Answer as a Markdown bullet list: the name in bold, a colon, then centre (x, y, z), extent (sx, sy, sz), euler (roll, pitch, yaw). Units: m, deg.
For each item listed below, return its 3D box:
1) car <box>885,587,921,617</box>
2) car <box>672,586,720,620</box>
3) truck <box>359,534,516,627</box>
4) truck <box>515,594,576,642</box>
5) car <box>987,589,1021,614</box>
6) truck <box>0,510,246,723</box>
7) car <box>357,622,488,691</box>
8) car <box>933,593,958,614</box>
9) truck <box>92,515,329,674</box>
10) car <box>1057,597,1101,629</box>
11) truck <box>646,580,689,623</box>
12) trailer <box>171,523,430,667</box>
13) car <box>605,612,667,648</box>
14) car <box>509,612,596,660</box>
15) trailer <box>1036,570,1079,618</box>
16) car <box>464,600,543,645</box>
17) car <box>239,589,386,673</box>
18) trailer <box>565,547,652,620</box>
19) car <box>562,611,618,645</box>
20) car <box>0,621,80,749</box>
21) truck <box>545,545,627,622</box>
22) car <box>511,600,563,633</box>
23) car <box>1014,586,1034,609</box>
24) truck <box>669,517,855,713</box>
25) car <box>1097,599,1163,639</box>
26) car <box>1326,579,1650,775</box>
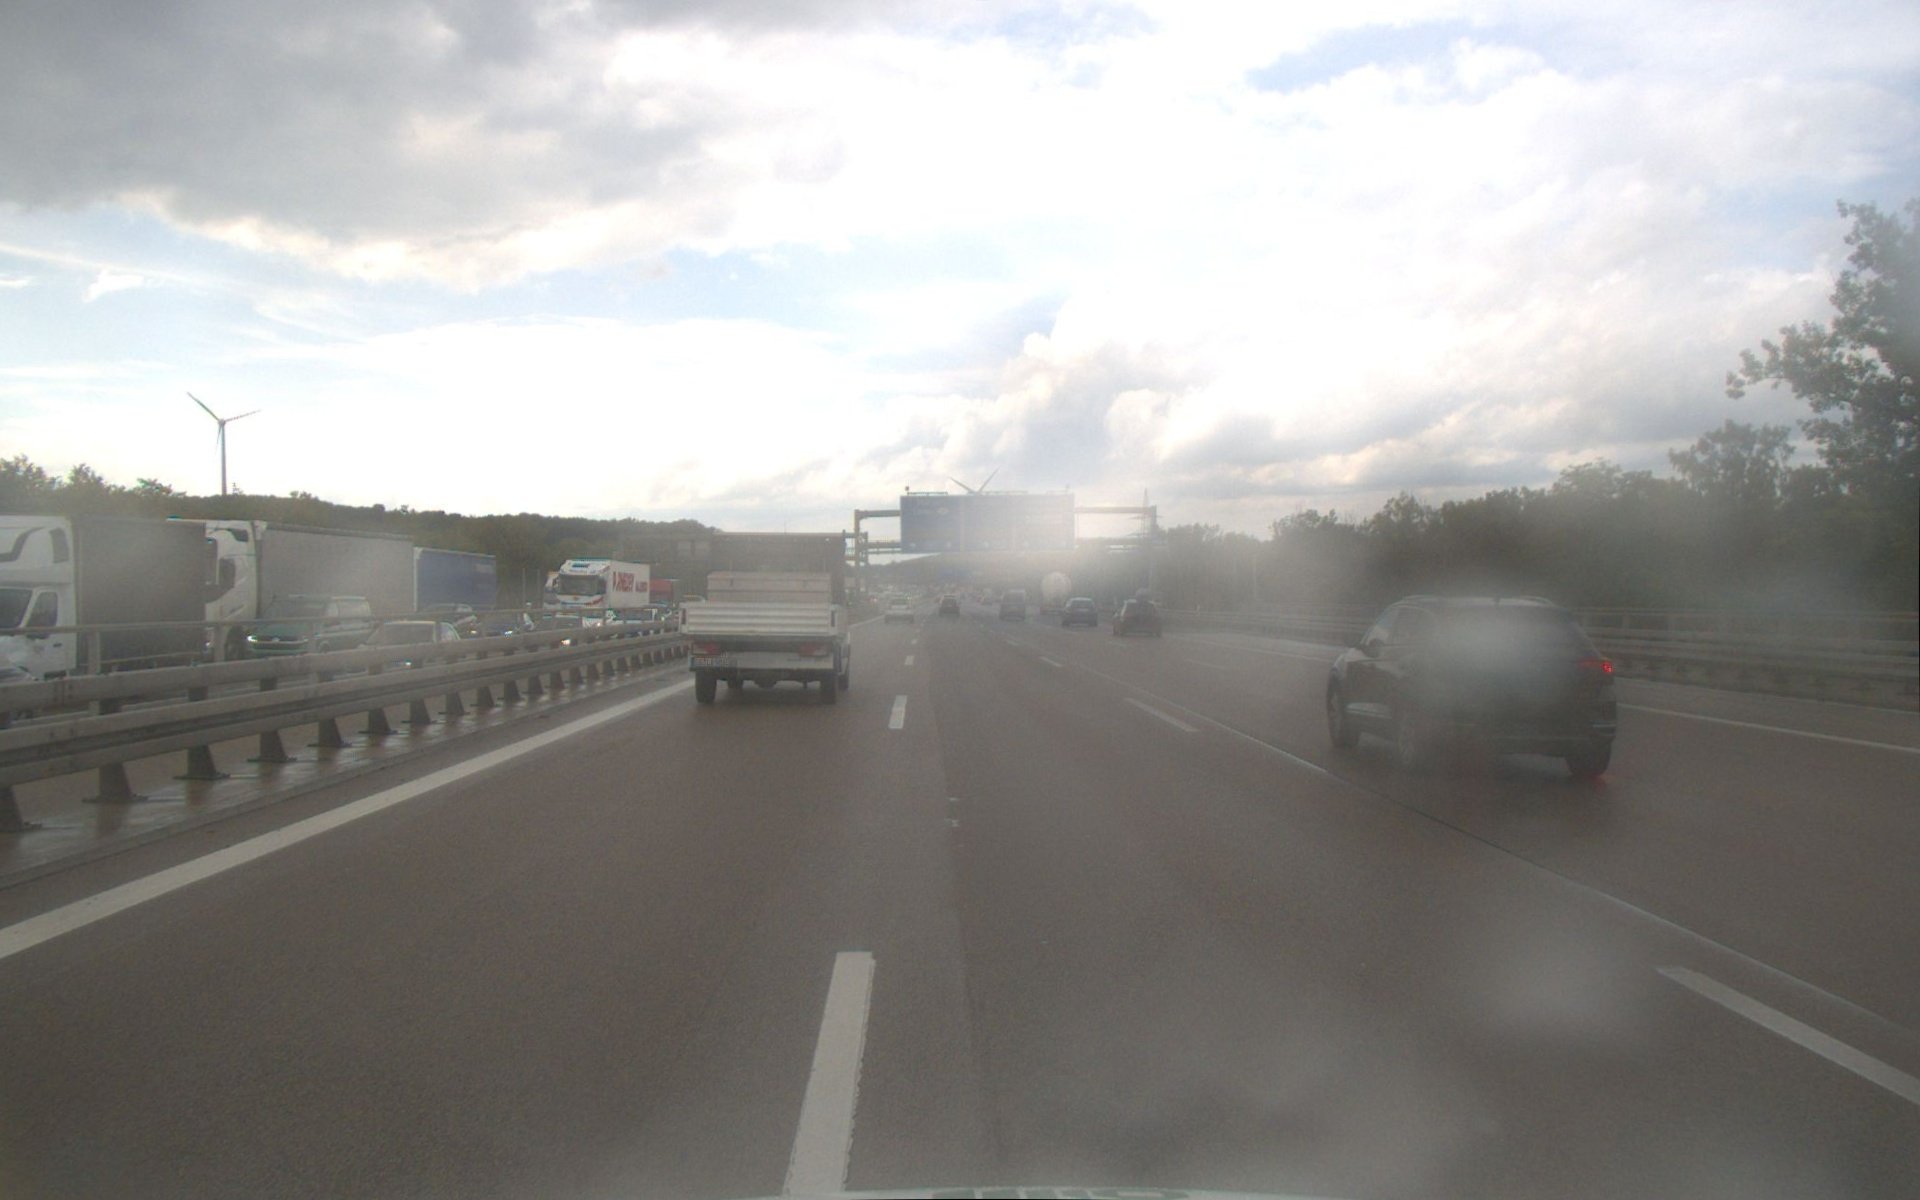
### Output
- **car**: centre (-3.381, 0.109, 98.516), extent (2.003, 1.729, 3.999), euler (1, 0, -1)
- **car**: centre (-13.446, 0.118, 84.393), extent (1.756, 1.647, 4.283), euler (-1, 0, 0)
- **truck**: centre (-25.431, -0.928, 81.805), extent (2.594, 4.091, 17.742), euler (0, 0, -2)
- **truck**: centre (-27.320, 1.138, 109.201), extent (2.466, 3.038, 7.019), euler (0, 0, -2)
- **car**: centre (3.187, 0.097, 120.447), extent (2.056, 1.729, 3.997), euler (1, 0, -4)
- **truck**: centre (-16.506, 0.260, 31.191), extent (2.468, 3.458, 8.539), euler (0, 0, -1)
- **car**: centre (-12.042, 1.234, 37.311), extent (1.685, 1.377, 3.999), euler (0, 0, -1)
- **car**: centre (-1.189, 0.283, 137.995), extent (2.004, 1.729, 3.999), euler (1, 0, -1)
- **truck**: centre (-20.506, -0.141, 45.855), extent (3.134, 4.002, 7.572), euler (1, 0, -1)
- **car**: centre (6.887, 0.738, 96.505), extent (2.004, 1.729, 5.004), euler (1, 0, -2)
- **truck**: centre (-24.995, 0.088, 141.736), extent (2.414, 3.598, 7.805), euler (0, 0, -1)
- **trailer**: centre (-20.583, -0.144, 52.922), extent (3.178, 4.002, 13.013), euler (1, 0, -1)
- **car**: centre (-13.381, 1.231, 68.489), extent (1.685, 1.377, 4.625), euler (0, 0, -1)
- **car**: centre (-12.801, 1.102, 52.247), extent (1.685, 1.377, 4.534), euler (0, 0, -1)
- **trailer**: centre (9.076, -0.511, 155.078), extent (3.265, 4.249, 11.837), euler (1, 0, 0)
- **car**: centre (-17.405, 0.837, 63.319), extent (1.784, 1.652, 4.697), euler (0, 0, -1)
- **car**: centre (-17.148, 0.763, 44.133), extent (1.784, 2.088, 5.674), euler (0, 0, -1)
- **trailer**: centre (-21.489, -1.009, 101.881), extent (3.122, 4.267, 11.953), euler (0, 0, -1)
- **car**: centre (-17.800, 1.362, 79.823), extent (1.612, 1.537, 4.858), euler (0, -2, 0)
- **car**: centre (-12.521, 1.055, 19.236), extent (1.685, 1.529, 5.501), euler (0, 0, -1)
- **truck**: centre (-21.330, -0.944, 94.796), extent (3.113, 4.267, 7.735), euler (0, 0, -1)
- **car**: centre (-21.048, 0.801, 82.409), extent (1.612, 1.573, 4.000), euler (0, 0, 0)
- **car**: centre (7.329, -0.316, 189.631), extent (2.003, 2.541, 3.999), euler (1, 0, -1)
- **truck**: centre (-2.758, 0.176, 24.808), extent (2.306, 2.450, 7.352), euler (1, 0, -4)
- **car**: centre (7.340, 0.809, 72.001), extent (2.063, 1.634, 5.062), euler (1, 0, -4)
- **car**: centre (4.770, 0.642, 15.488), extent (1.756, 1.590, 3.720), euler (1, 0, -2)
